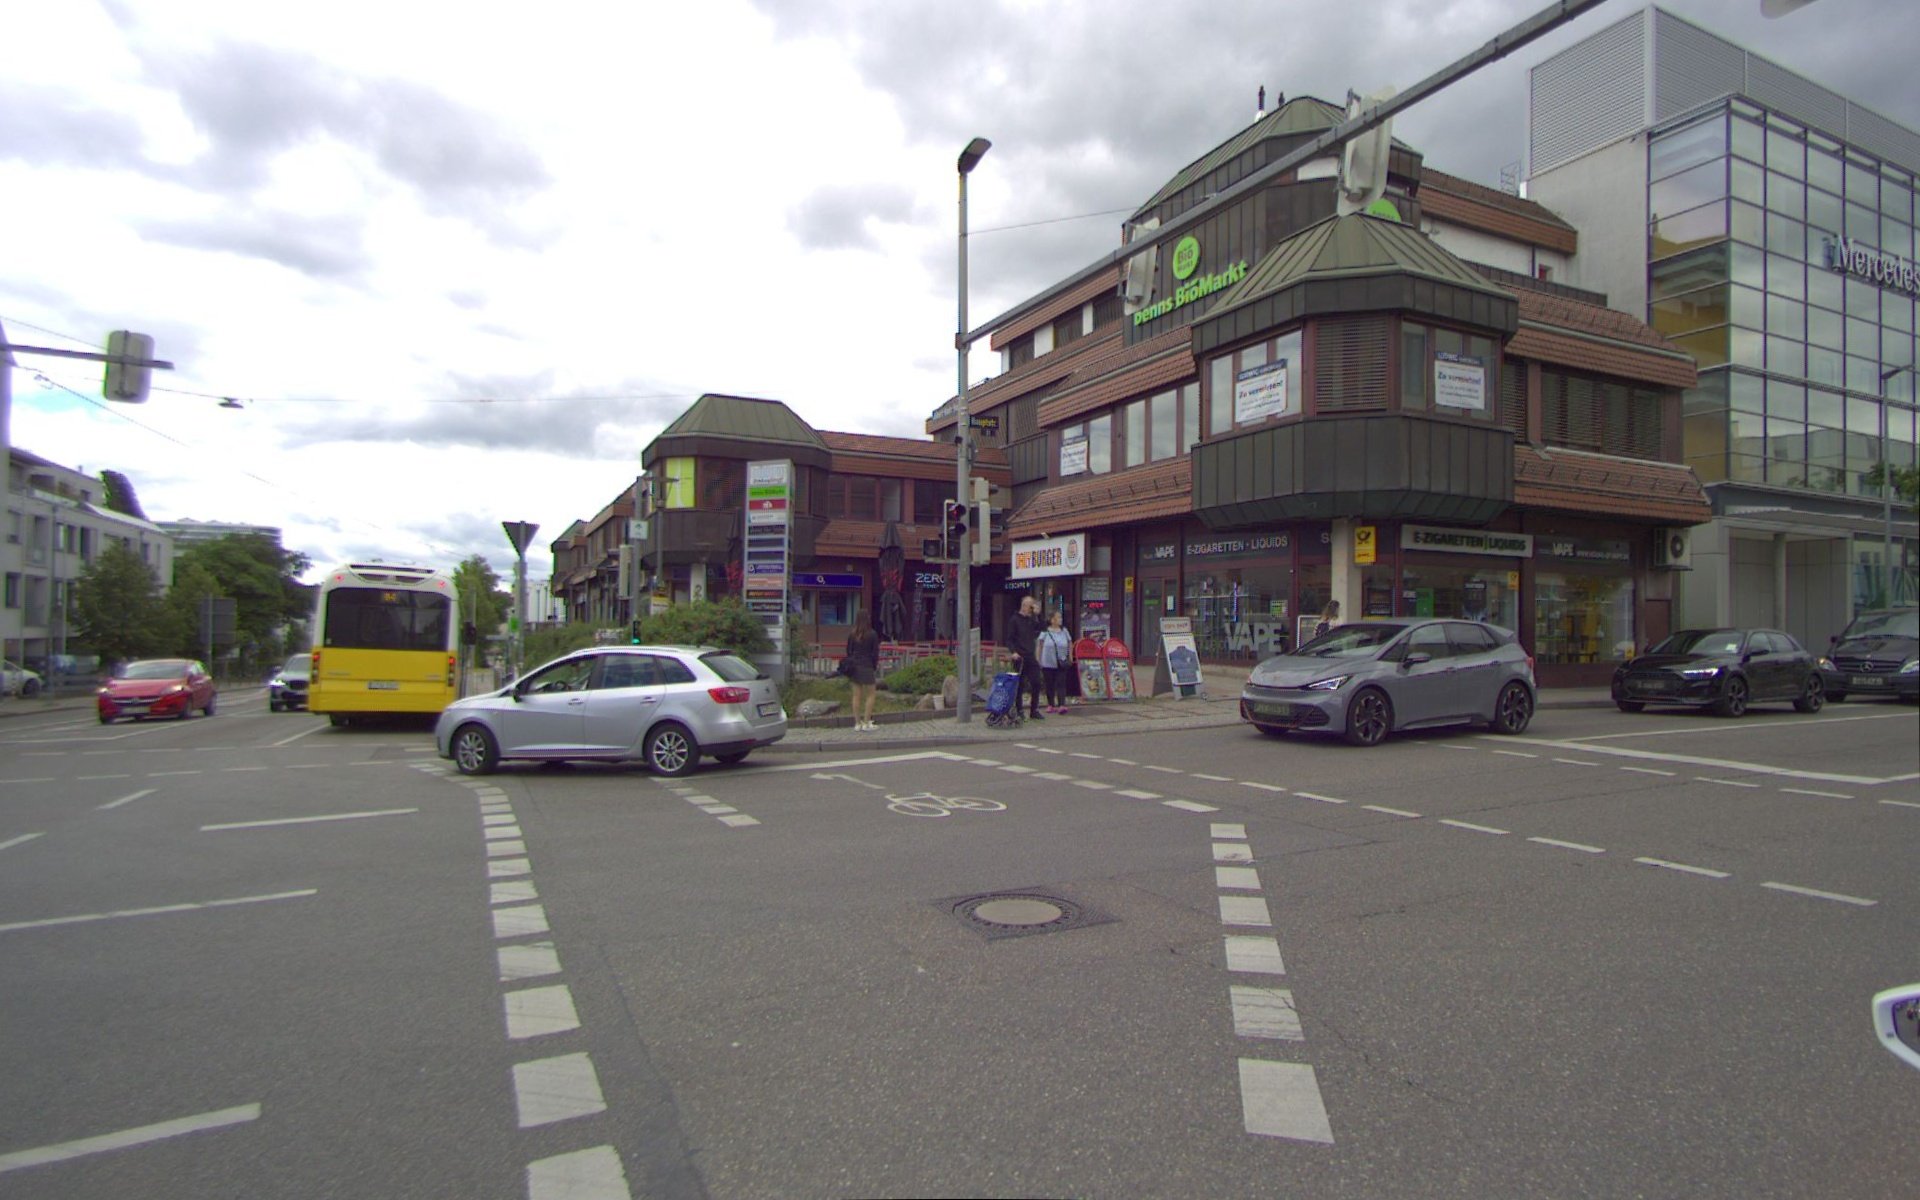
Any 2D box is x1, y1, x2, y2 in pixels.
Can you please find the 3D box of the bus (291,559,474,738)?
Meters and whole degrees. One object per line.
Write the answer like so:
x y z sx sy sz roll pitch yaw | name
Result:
-13.821 1.265 25.028 2.957 3.370 12.232 0 -3 -25 | bus

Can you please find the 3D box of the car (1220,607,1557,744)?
5.749 0.917 13.396 4.330 1.537 1.752 0 -2 -27 | car

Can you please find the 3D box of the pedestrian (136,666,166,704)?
-36.879 3.871 45.796 0.851 1.674 0.859 0 -1 -24 | pedestrian

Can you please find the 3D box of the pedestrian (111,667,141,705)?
-37.710 3.878 45.420 0.851 1.674 0.859 0 -1 -24 | pedestrian

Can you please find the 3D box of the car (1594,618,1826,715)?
12.788 1.047 17.088 3.951 1.462 1.695 0 -1 -29 | car

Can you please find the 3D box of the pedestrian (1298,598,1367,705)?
6.158 0.839 16.629 0.768 1.715 0.745 0 -1 -31 | pedestrian

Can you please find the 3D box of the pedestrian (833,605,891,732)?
-1.417 0.954 14.378 0.690 1.736 0.810 -1 0 -14 | pedestrian

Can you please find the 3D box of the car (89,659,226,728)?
-19.663 2.236 24.804 1.791 1.505 3.975 1 -3 -26 | car

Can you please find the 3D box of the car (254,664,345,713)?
-19.324 2.555 29.514 1.777 1.295 3.495 1 -3 -26 | car

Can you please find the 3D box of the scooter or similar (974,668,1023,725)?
0.550 1.358 14.231 0.533 0.736 0.451 0 0 -34 | scooter or similar

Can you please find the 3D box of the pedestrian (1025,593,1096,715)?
1.564 0.812 15.657 0.767 1.832 0.805 0 0 -34 | pedestrian

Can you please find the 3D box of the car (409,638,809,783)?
-4.030 1.259 11.759 4.114 1.437 1.641 -3 -2 10 | car

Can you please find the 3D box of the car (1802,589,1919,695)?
19.532 0.814 20.408 5.047 1.935 1.859 0 -2 -27 | car

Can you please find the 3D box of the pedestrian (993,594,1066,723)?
1.013 0.831 14.745 0.738 1.832 0.805 0 0 -34 | pedestrian
